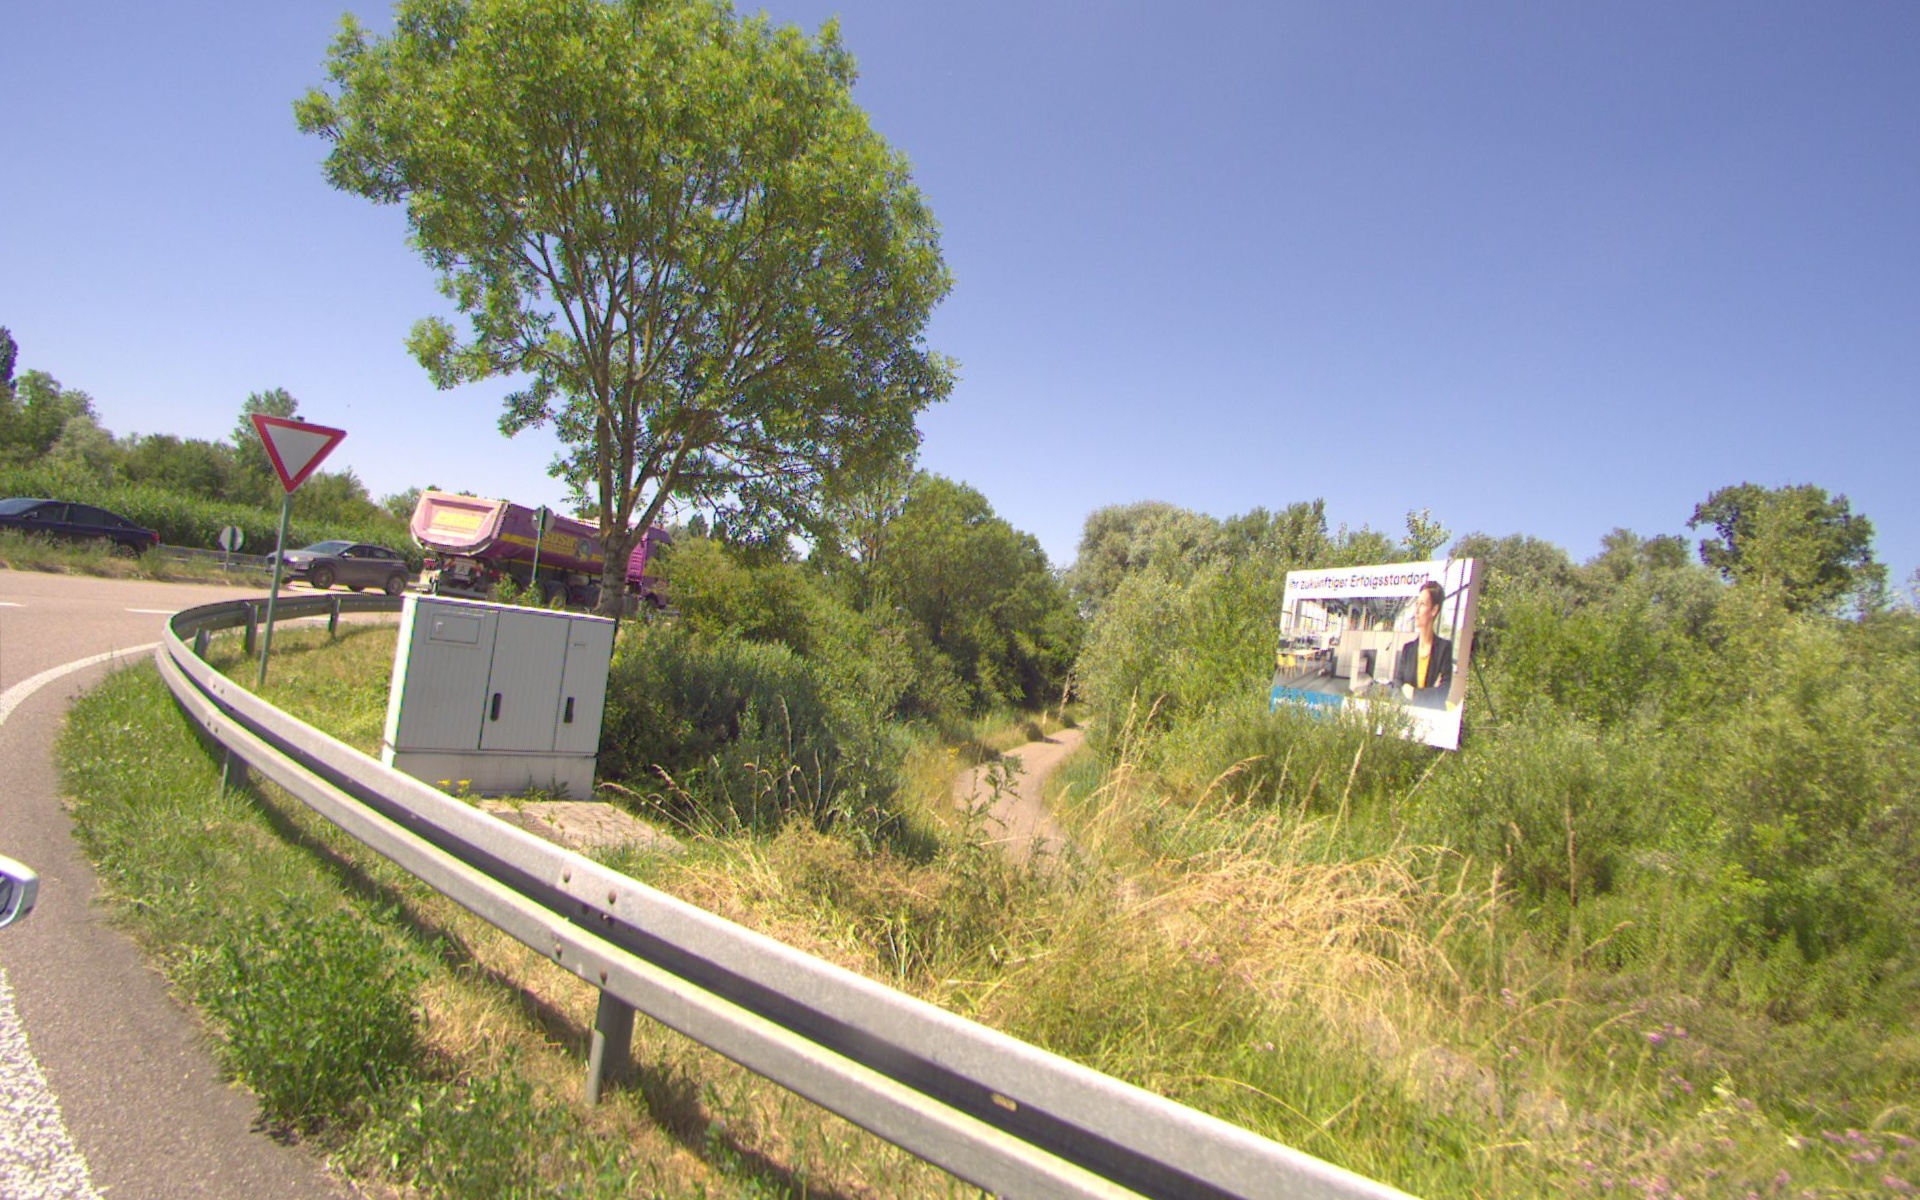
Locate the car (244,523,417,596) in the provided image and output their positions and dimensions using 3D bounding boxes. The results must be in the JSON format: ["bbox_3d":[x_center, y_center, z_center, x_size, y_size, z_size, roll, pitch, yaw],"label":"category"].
[{"bbox_3d":[-19.350,-1.194,31.182,1.897,1.651,4.241,7,-1,16],"label":"car"}]

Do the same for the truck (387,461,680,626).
[{"bbox_3d":[-12.822,-1.347,32.213,2.789,3.867,11.894,7,-1,6],"label":"truck"}]

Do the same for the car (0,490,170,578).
[{"bbox_3d":[-21.788,-1.637,23.483,1.897,1.651,4.944,7,-1,17],"label":"car"}]
